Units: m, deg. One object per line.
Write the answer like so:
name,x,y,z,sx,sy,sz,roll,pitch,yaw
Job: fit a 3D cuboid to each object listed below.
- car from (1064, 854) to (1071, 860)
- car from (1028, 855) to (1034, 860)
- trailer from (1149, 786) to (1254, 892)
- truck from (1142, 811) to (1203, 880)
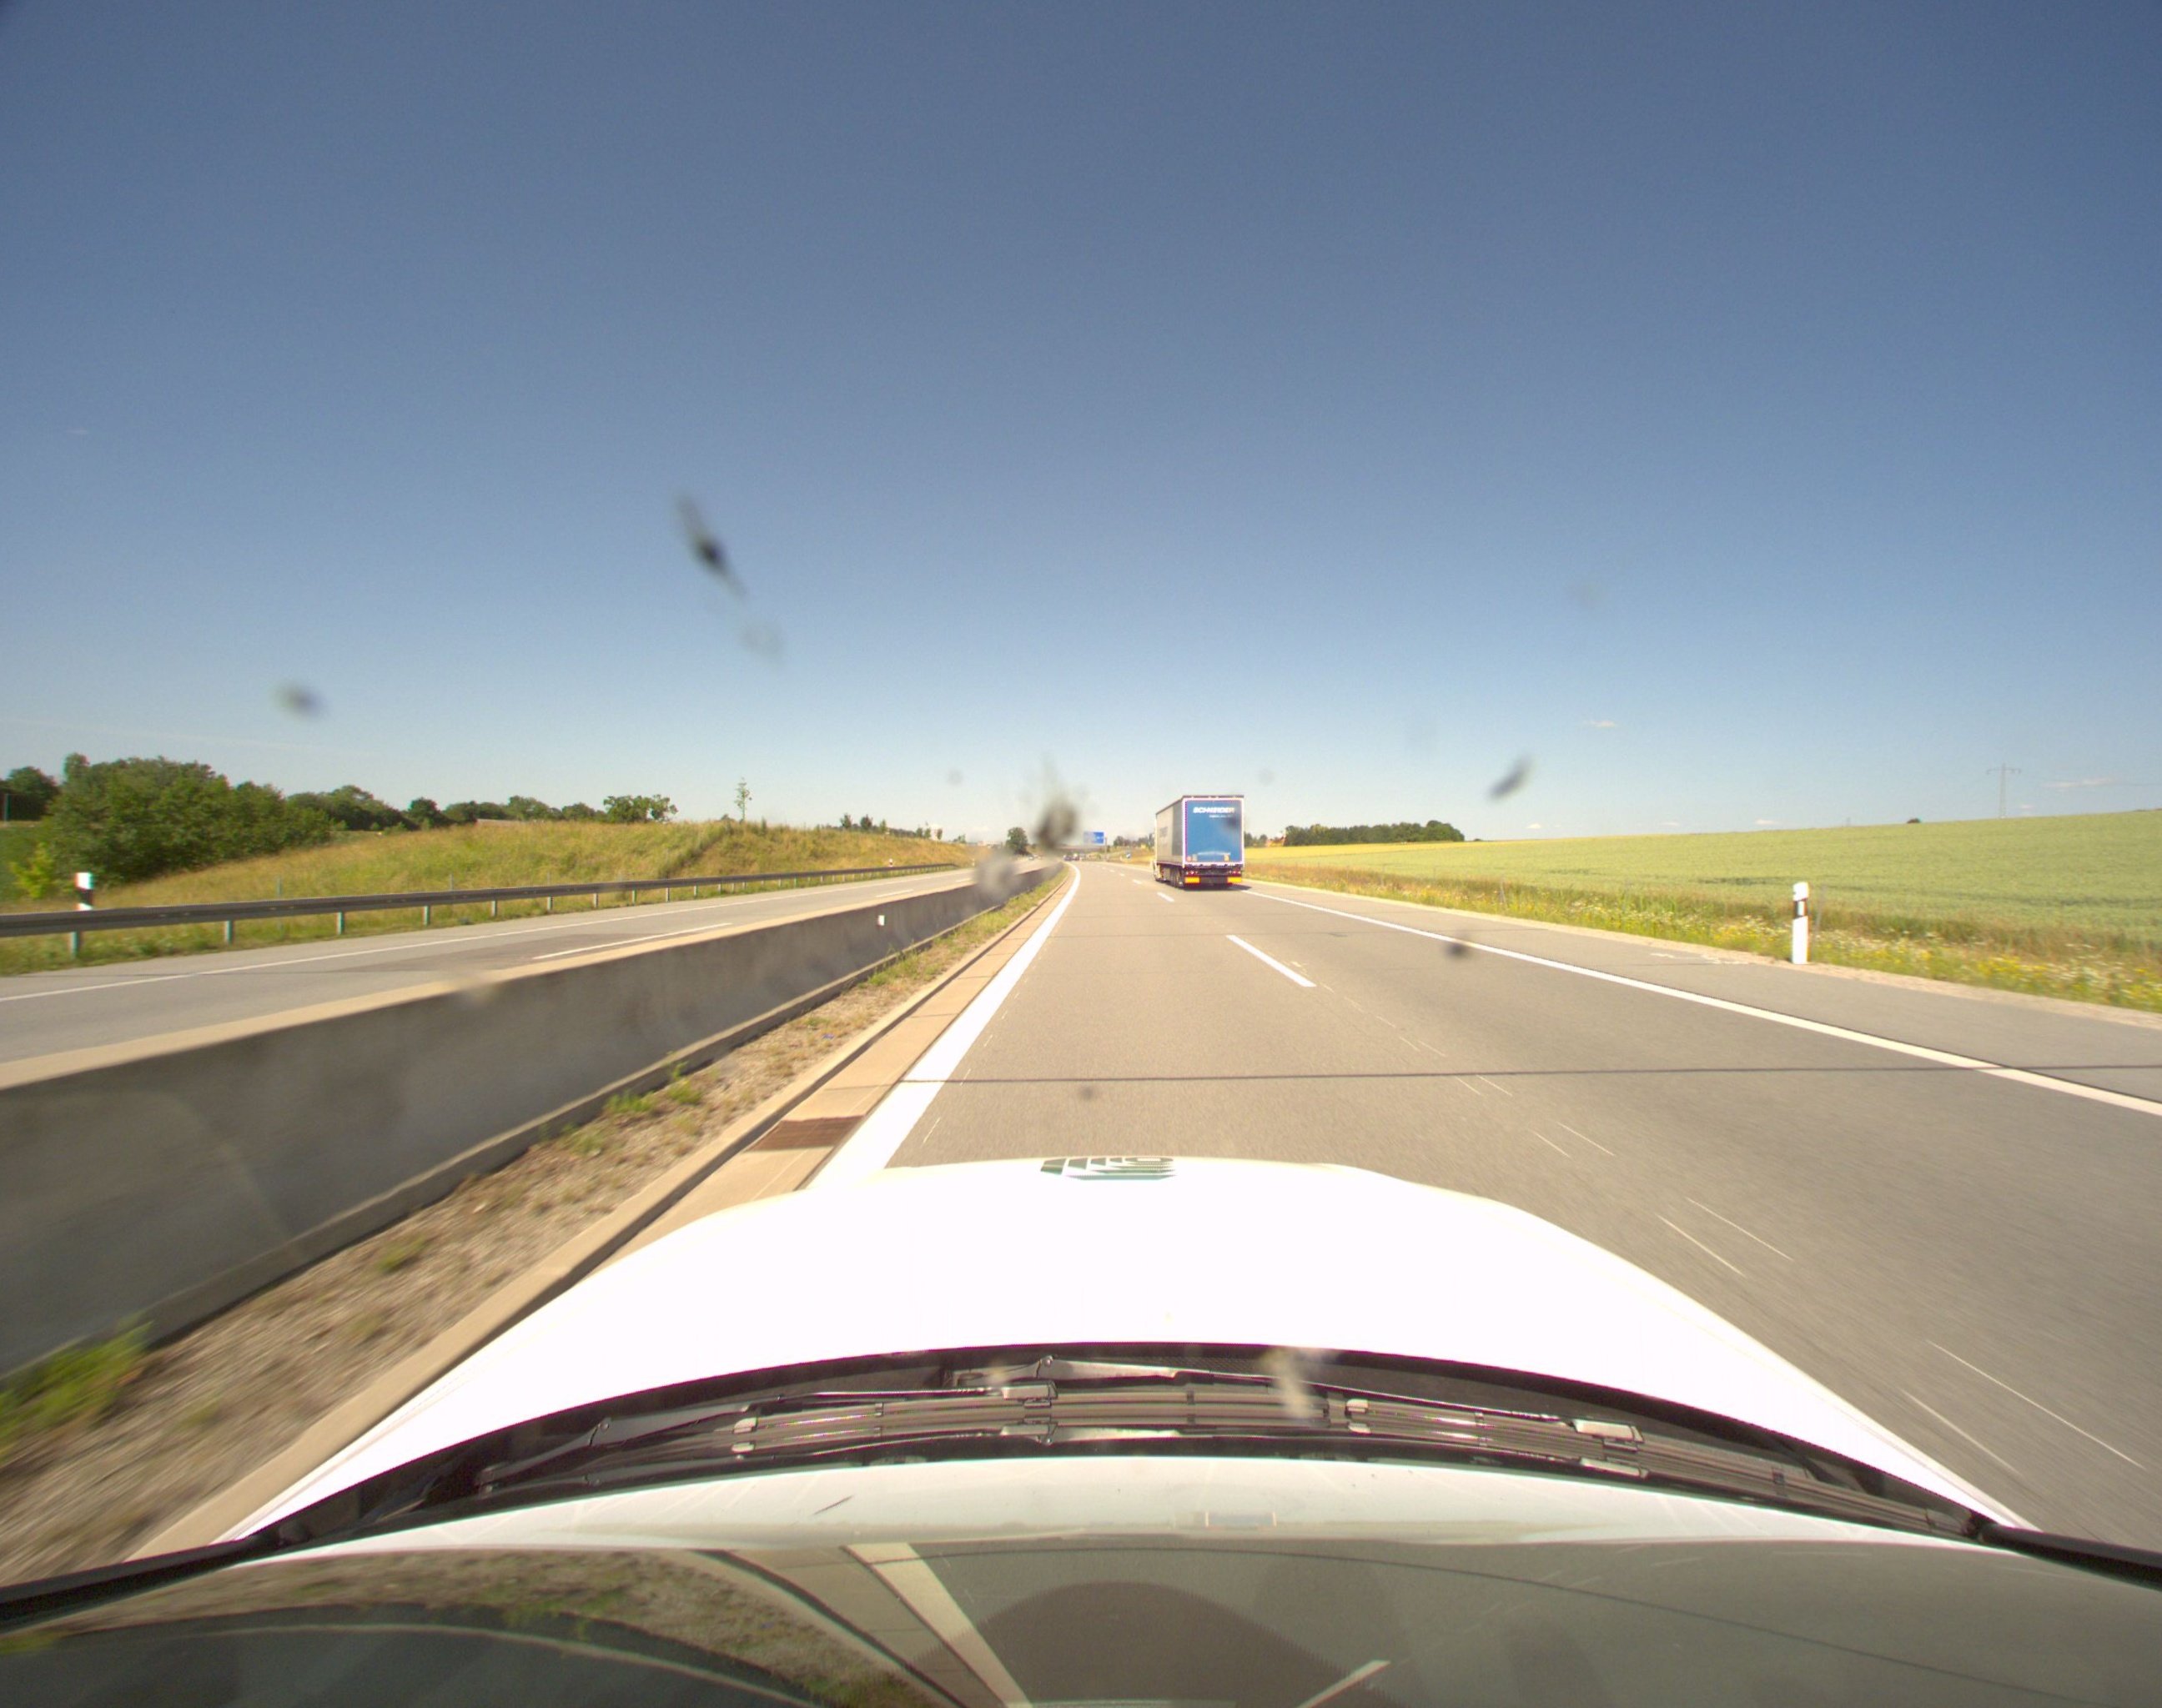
car,-3.765,0.847,225.788,1.987,1.552,3.999,-1,0,-1
car,-14.957,0.960,244.827,1.875,1.502,4.560,-1,0,-3
trailer,5.603,-0.643,41.217,3.165,4.294,15.461,-1,0,1
truck,5.666,-0.515,51.284,3.073,4.014,6.188,-2,0,0
